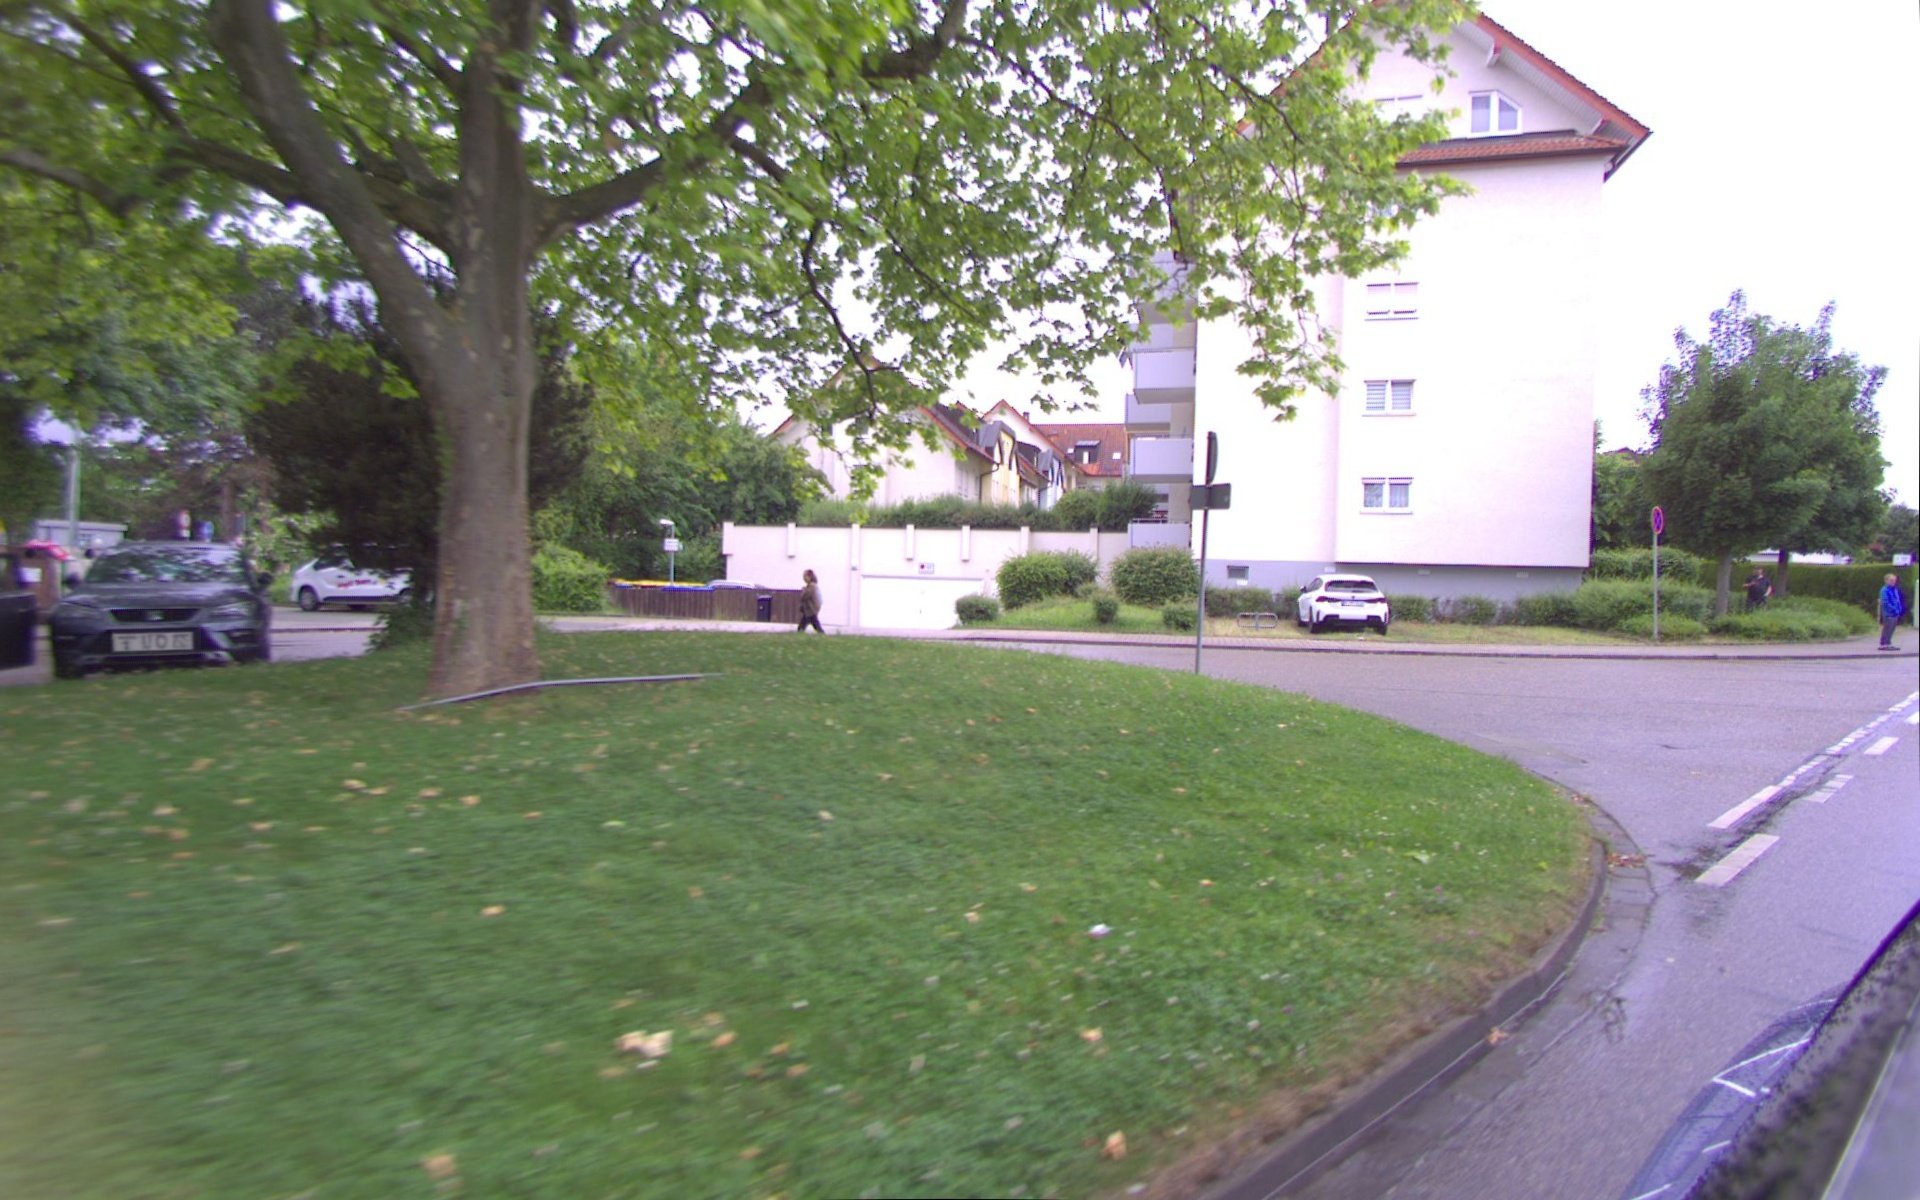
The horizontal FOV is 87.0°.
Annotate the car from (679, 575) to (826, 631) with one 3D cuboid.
[{"bbox_3d":[-7.446,0.050,36.421,4.861,1.846,1.992,1,2,17],"label":"car"}]

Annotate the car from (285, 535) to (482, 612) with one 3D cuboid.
[{"bbox_3d":[-16.421,-0.777,28.855,4.927,2.038,2.076,1,1,17],"label":"car"}]

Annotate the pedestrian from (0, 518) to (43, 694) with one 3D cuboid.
[{"bbox_3d":[-9.369,0.046,9.863,0.576,1.672,0.740,0,1,-38],"label":"pedestrian"}]

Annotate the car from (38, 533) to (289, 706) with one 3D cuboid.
[{"bbox_3d":[-9.093,0.086,11.912,1.729,1.646,4.300,0,2,-30],"label":"car"}]

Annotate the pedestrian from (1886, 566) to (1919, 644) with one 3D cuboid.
[{"bbox_3d":[20.996,0.096,22.397,0.587,1.687,0.767,0,1,32],"label":"pedestrian"}]

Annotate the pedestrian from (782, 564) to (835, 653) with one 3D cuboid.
[{"bbox_3d":[-2.780,0.143,18.584,0.931,1.603,0.739,0,1,-9],"label":"pedestrian"}]

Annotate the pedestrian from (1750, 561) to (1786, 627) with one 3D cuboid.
[{"bbox_3d":[22.254,-0.178,27.883,0.609,1.795,0.664,1,1,27],"label":"pedestrian"}]

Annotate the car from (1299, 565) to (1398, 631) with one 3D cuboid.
[{"bbox_3d":[9.807,-0.123,25.819,1.719,1.498,3.757,2,2,12],"label":"car"}]

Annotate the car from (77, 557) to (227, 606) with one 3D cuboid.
[{"bbox_3d":[-24.859,-0.590,31.161,3.946,1.384,1.748,1,1,18],"label":"car"}]
